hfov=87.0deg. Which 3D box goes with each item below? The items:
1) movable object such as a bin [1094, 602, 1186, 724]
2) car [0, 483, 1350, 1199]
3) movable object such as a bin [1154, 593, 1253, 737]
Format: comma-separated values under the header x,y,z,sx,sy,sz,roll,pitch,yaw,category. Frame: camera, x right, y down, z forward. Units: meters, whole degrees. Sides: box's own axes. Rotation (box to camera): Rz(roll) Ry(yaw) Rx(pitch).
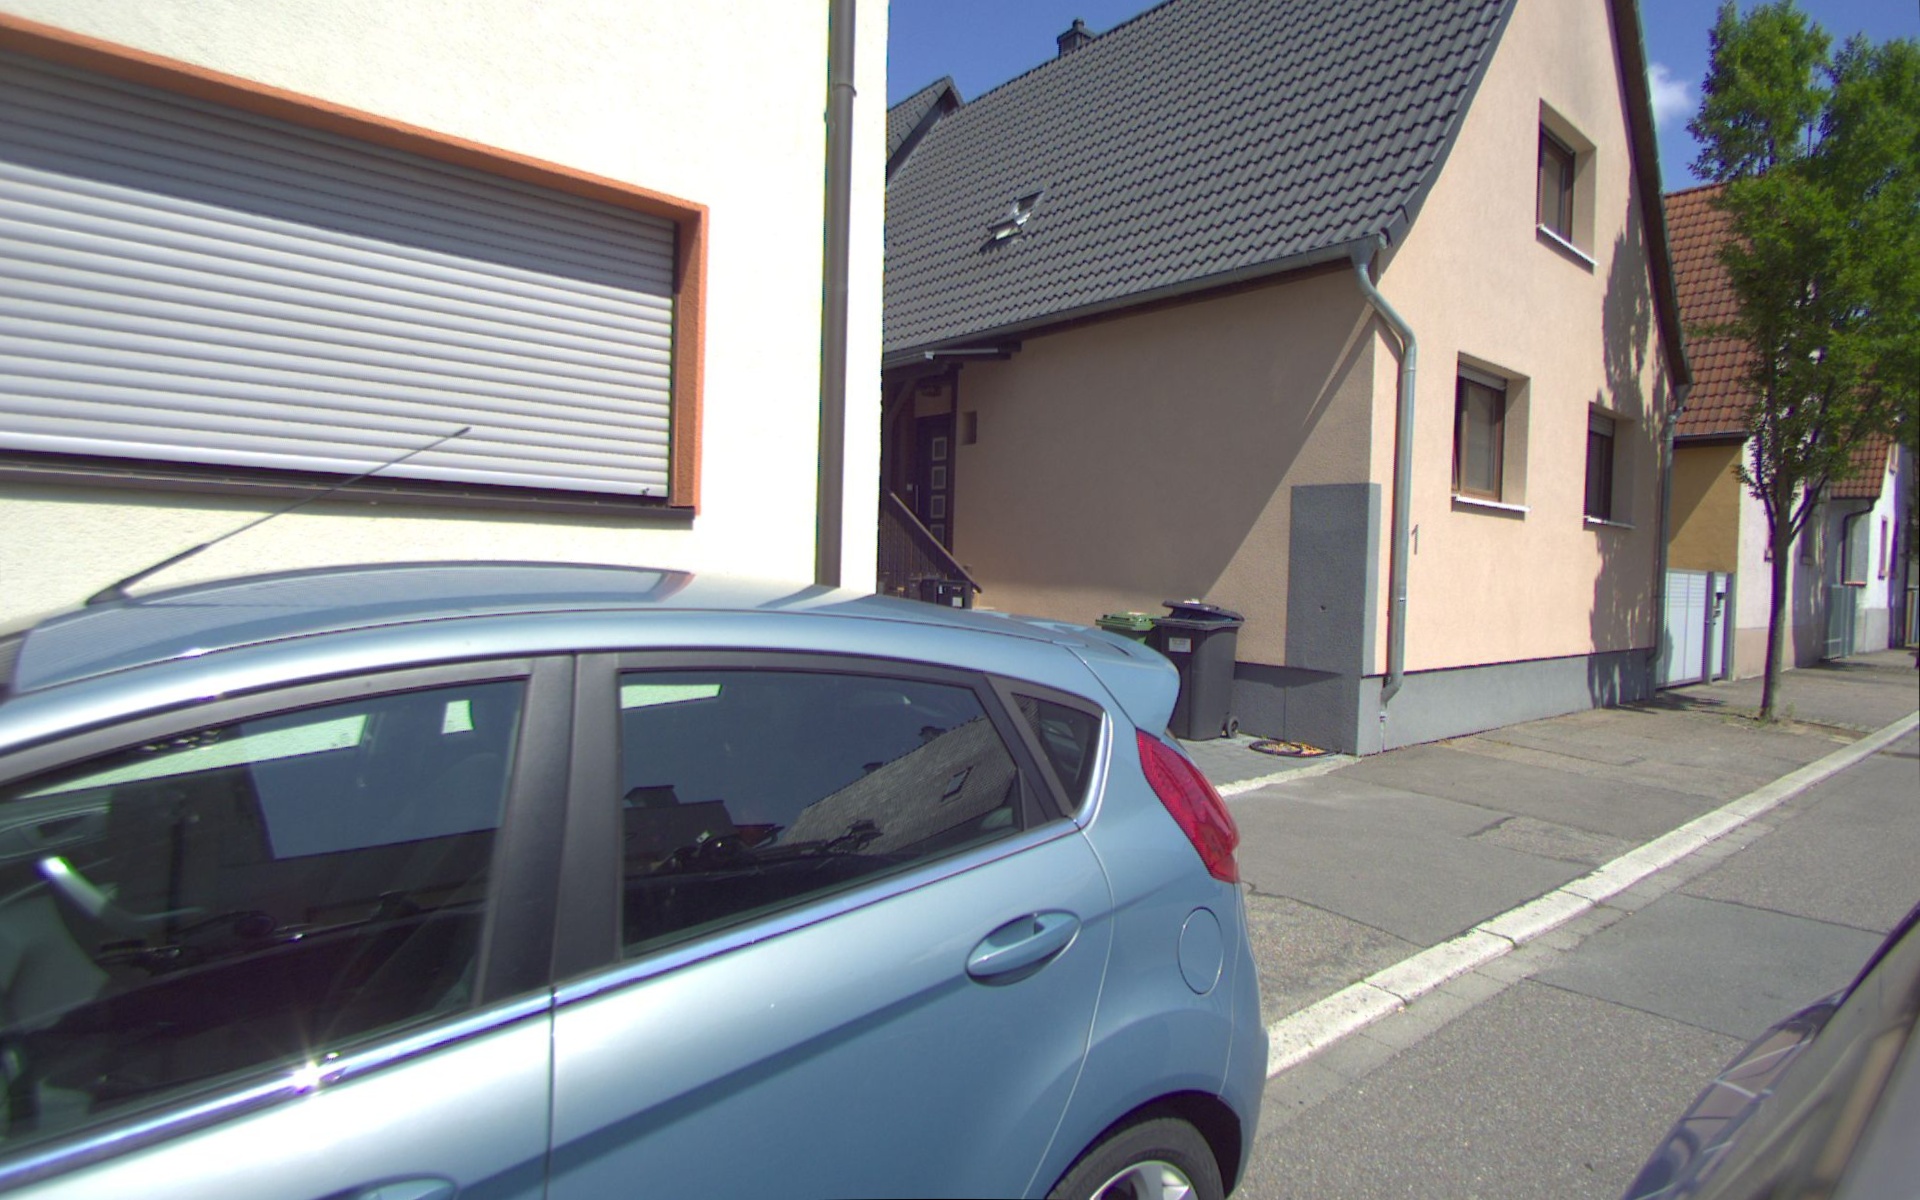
x,y,z,sx,sy,sz,roll,pitch,yaw,category
1.656,0.555,9.294,0.660,1.041,0.493,0,3,-42,movable object such as a bin
-1.315,0.603,1.505,3.679,1.499,1.729,0,6,-36,car
2.118,0.540,8.797,0.687,1.164,0.493,0,3,-42,movable object such as a bin
